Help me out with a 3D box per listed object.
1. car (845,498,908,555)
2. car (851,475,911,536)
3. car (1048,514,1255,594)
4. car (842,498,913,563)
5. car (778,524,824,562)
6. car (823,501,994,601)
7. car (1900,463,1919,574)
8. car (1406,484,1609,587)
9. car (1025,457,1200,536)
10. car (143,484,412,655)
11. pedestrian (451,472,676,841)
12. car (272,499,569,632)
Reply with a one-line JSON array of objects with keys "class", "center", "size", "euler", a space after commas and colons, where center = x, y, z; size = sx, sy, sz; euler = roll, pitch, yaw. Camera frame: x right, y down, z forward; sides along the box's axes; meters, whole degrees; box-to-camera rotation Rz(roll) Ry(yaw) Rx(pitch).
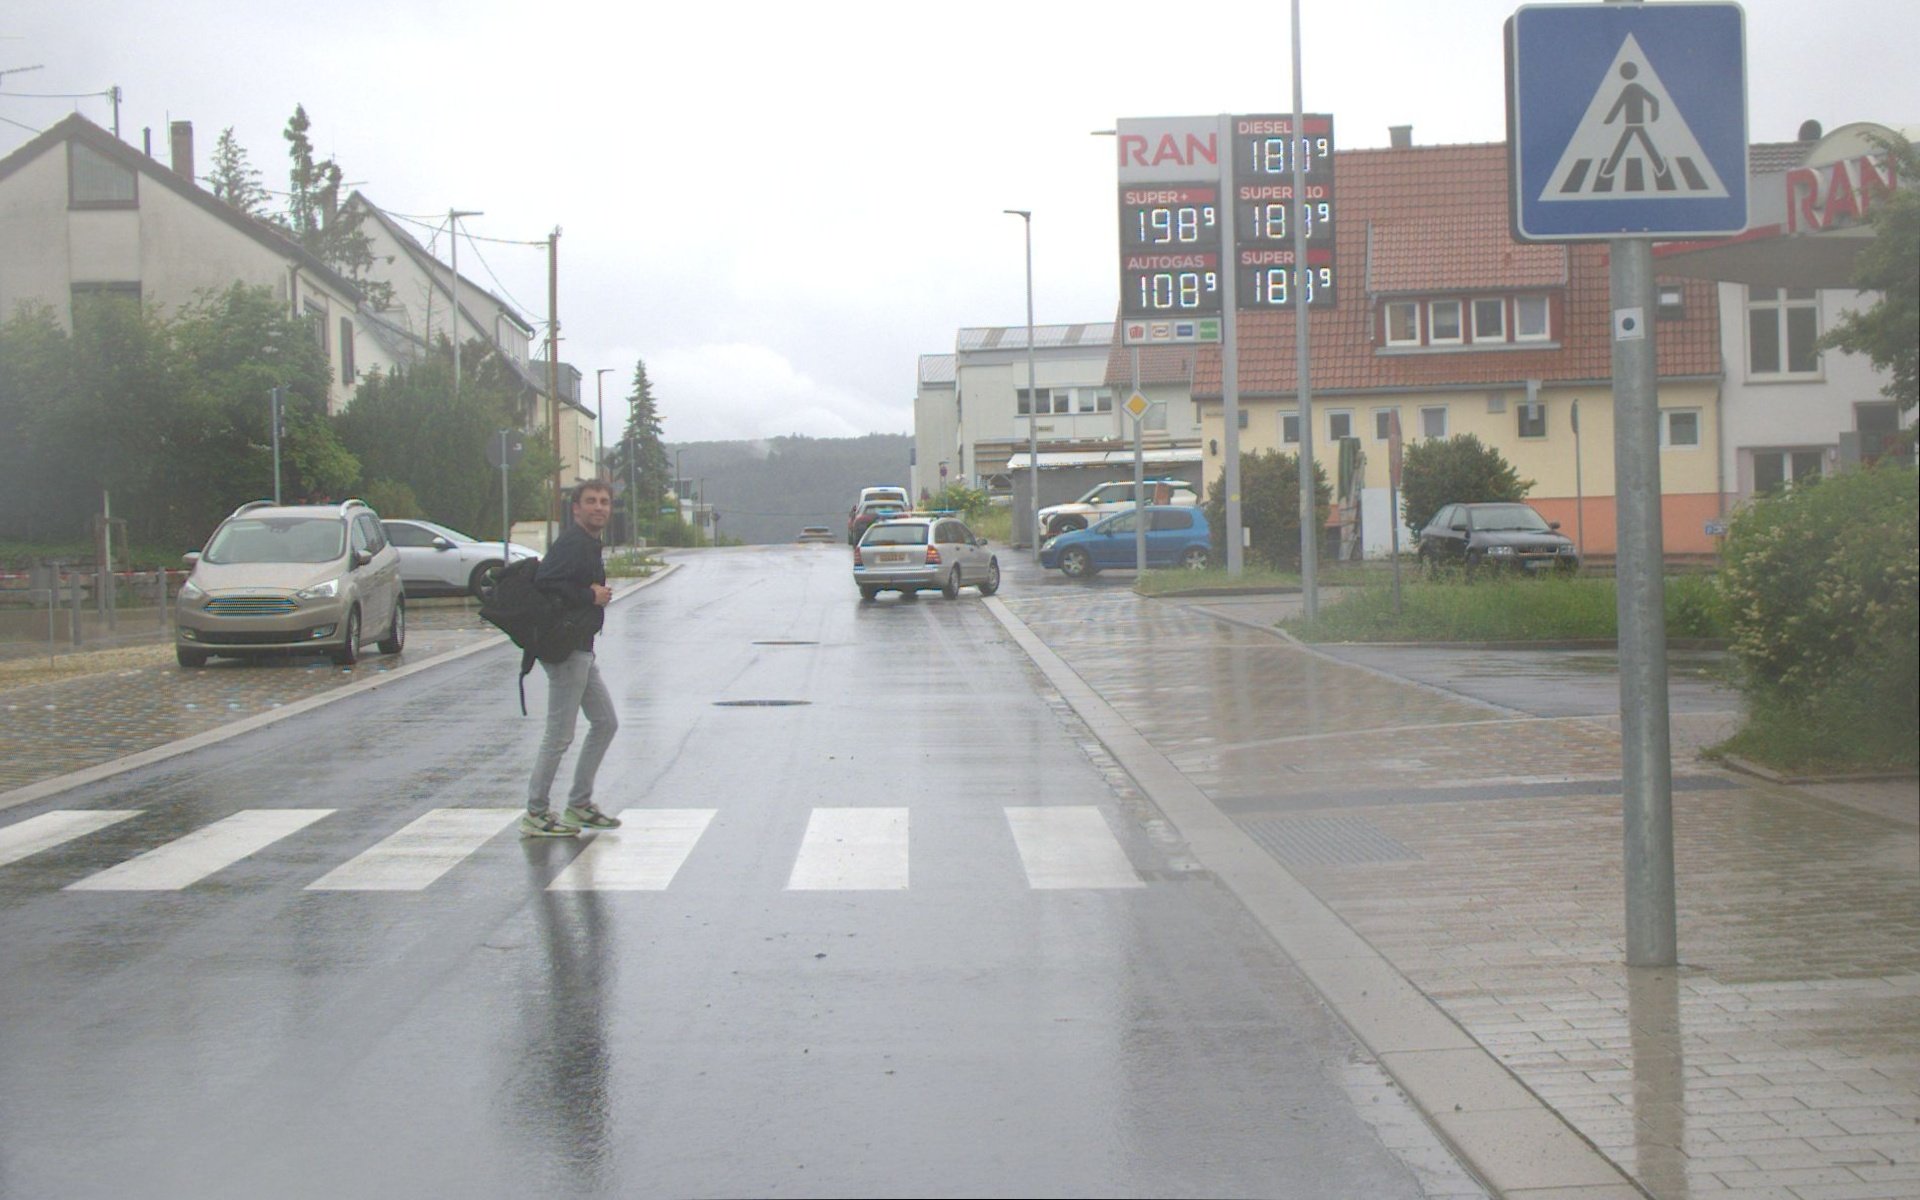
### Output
[{"class": "car", "center": [-2.776, -2.421, 114.407], "size": [1.993, 1.700, 4.000], "euler": [3, -1, -1]}, {"class": "car", "center": [-2.458, -2.942, 108.071], "size": [1.782, 1.700, 4.000], "euler": [3, -1, -1]}, {"class": "car", "center": [4.051, -0.972, 72.592], "size": [3.990, 1.488, 1.856], "euler": [2, -1, 17]}, {"class": "car", "center": [-2.411, -2.024, 101.334], "size": [1.993, 1.700, 4.000], "euler": [3, -1, -1]}, {"class": "car", "center": [-8.052, -2.878, 174.366], "size": [2.154, 1.700, 4.000], "euler": [3, -1, -1]}, {"class": "car", "center": [-0.857, -0.831, 60.150], "size": [1.949, 1.550, 3.997], "euler": [2, -1, 15]}, {"class": "car", "center": [15.316, -1.134, 48.416], "size": [3.515, 1.550, 1.955], "euler": [0, 0, -21]}, {"class": "car", "center": [9.135, -1.048, 57.684], "size": [1.993, 1.547, 4.001], "euler": [3, -1, -12]}, {"class": "car", "center": [3.769, -2.570, 85.581], "size": [4.112, 1.700, 1.789], "euler": [3, -1, -4]}, {"class": "car", "center": [-7.017, -0.351, 35.759], "size": [1.993, 1.623, 4.154], "euler": [-1, 2, -1]}, {"class": "pedestrian", "center": [-1.891, 0.257, 16.503], "size": [1.013, 1.718, 0.772], "euler": [-1, 1, -3]}, {"class": "car", "center": [-9.090, -0.562, 58.283], "size": [4.752, 2.007, 2.000], "euler": [3, -1, -5]}]
